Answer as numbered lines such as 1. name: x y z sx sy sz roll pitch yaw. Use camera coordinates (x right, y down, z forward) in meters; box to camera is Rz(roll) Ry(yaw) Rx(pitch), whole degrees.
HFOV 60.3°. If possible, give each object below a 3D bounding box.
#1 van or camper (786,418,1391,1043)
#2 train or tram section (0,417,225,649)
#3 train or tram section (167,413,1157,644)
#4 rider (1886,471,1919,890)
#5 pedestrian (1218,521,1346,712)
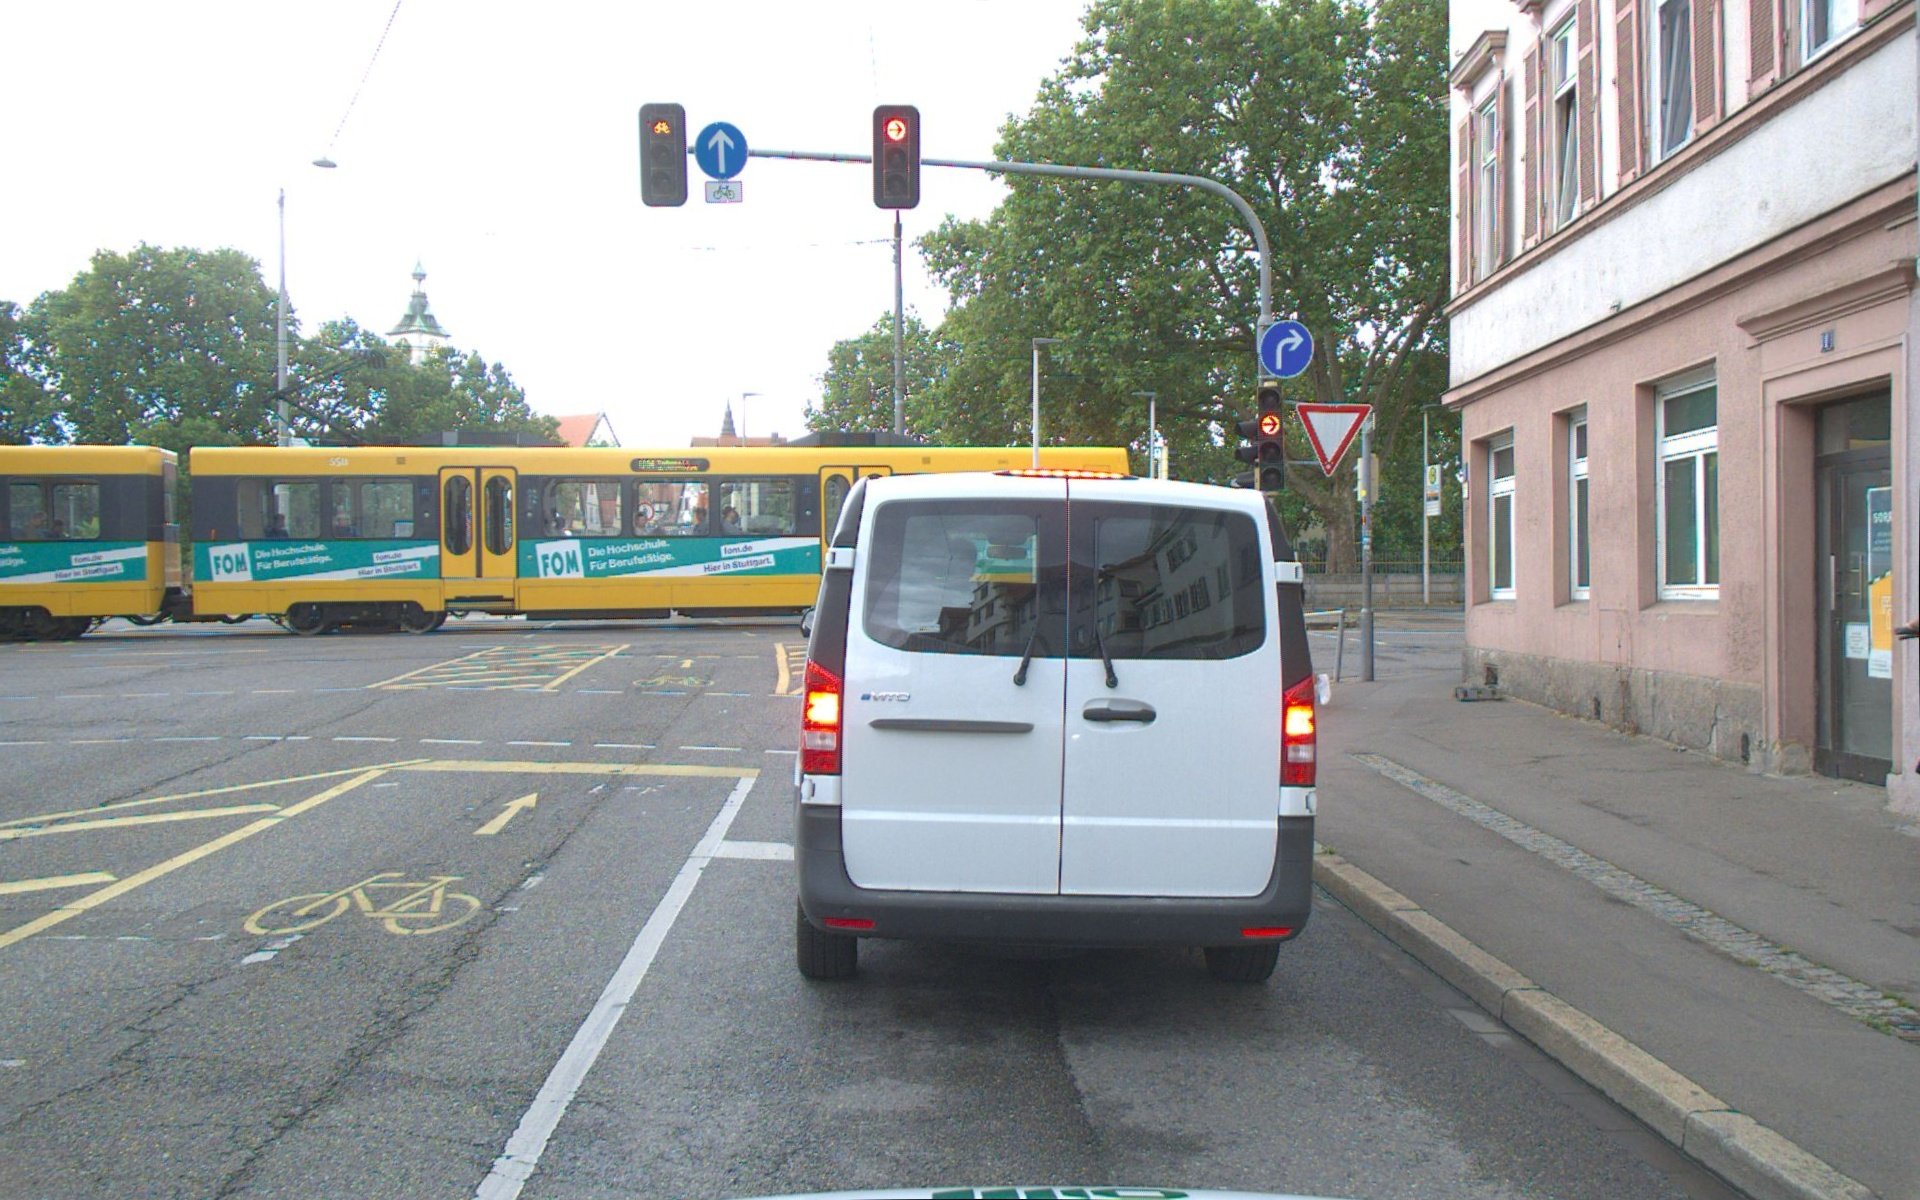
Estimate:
1. van or camper: 0.301 0.390 7.462 1.899 1.958 4.438 1 1 -3
2. train or tram section: -23.563 -1.050 29.146 18.903 4.072 3.298 -2 3 -15
3. train or tram section: -5.428 -1.545 33.034 18.426 4.072 3.259 -1 3 -10
4. rider: 4.657 0.361 7.269 0.703 1.880 0.797 -1 0 -1
5. pedestrian: 3.309 0.146 16.974 1.140 1.888 0.670 -2 1 -36
